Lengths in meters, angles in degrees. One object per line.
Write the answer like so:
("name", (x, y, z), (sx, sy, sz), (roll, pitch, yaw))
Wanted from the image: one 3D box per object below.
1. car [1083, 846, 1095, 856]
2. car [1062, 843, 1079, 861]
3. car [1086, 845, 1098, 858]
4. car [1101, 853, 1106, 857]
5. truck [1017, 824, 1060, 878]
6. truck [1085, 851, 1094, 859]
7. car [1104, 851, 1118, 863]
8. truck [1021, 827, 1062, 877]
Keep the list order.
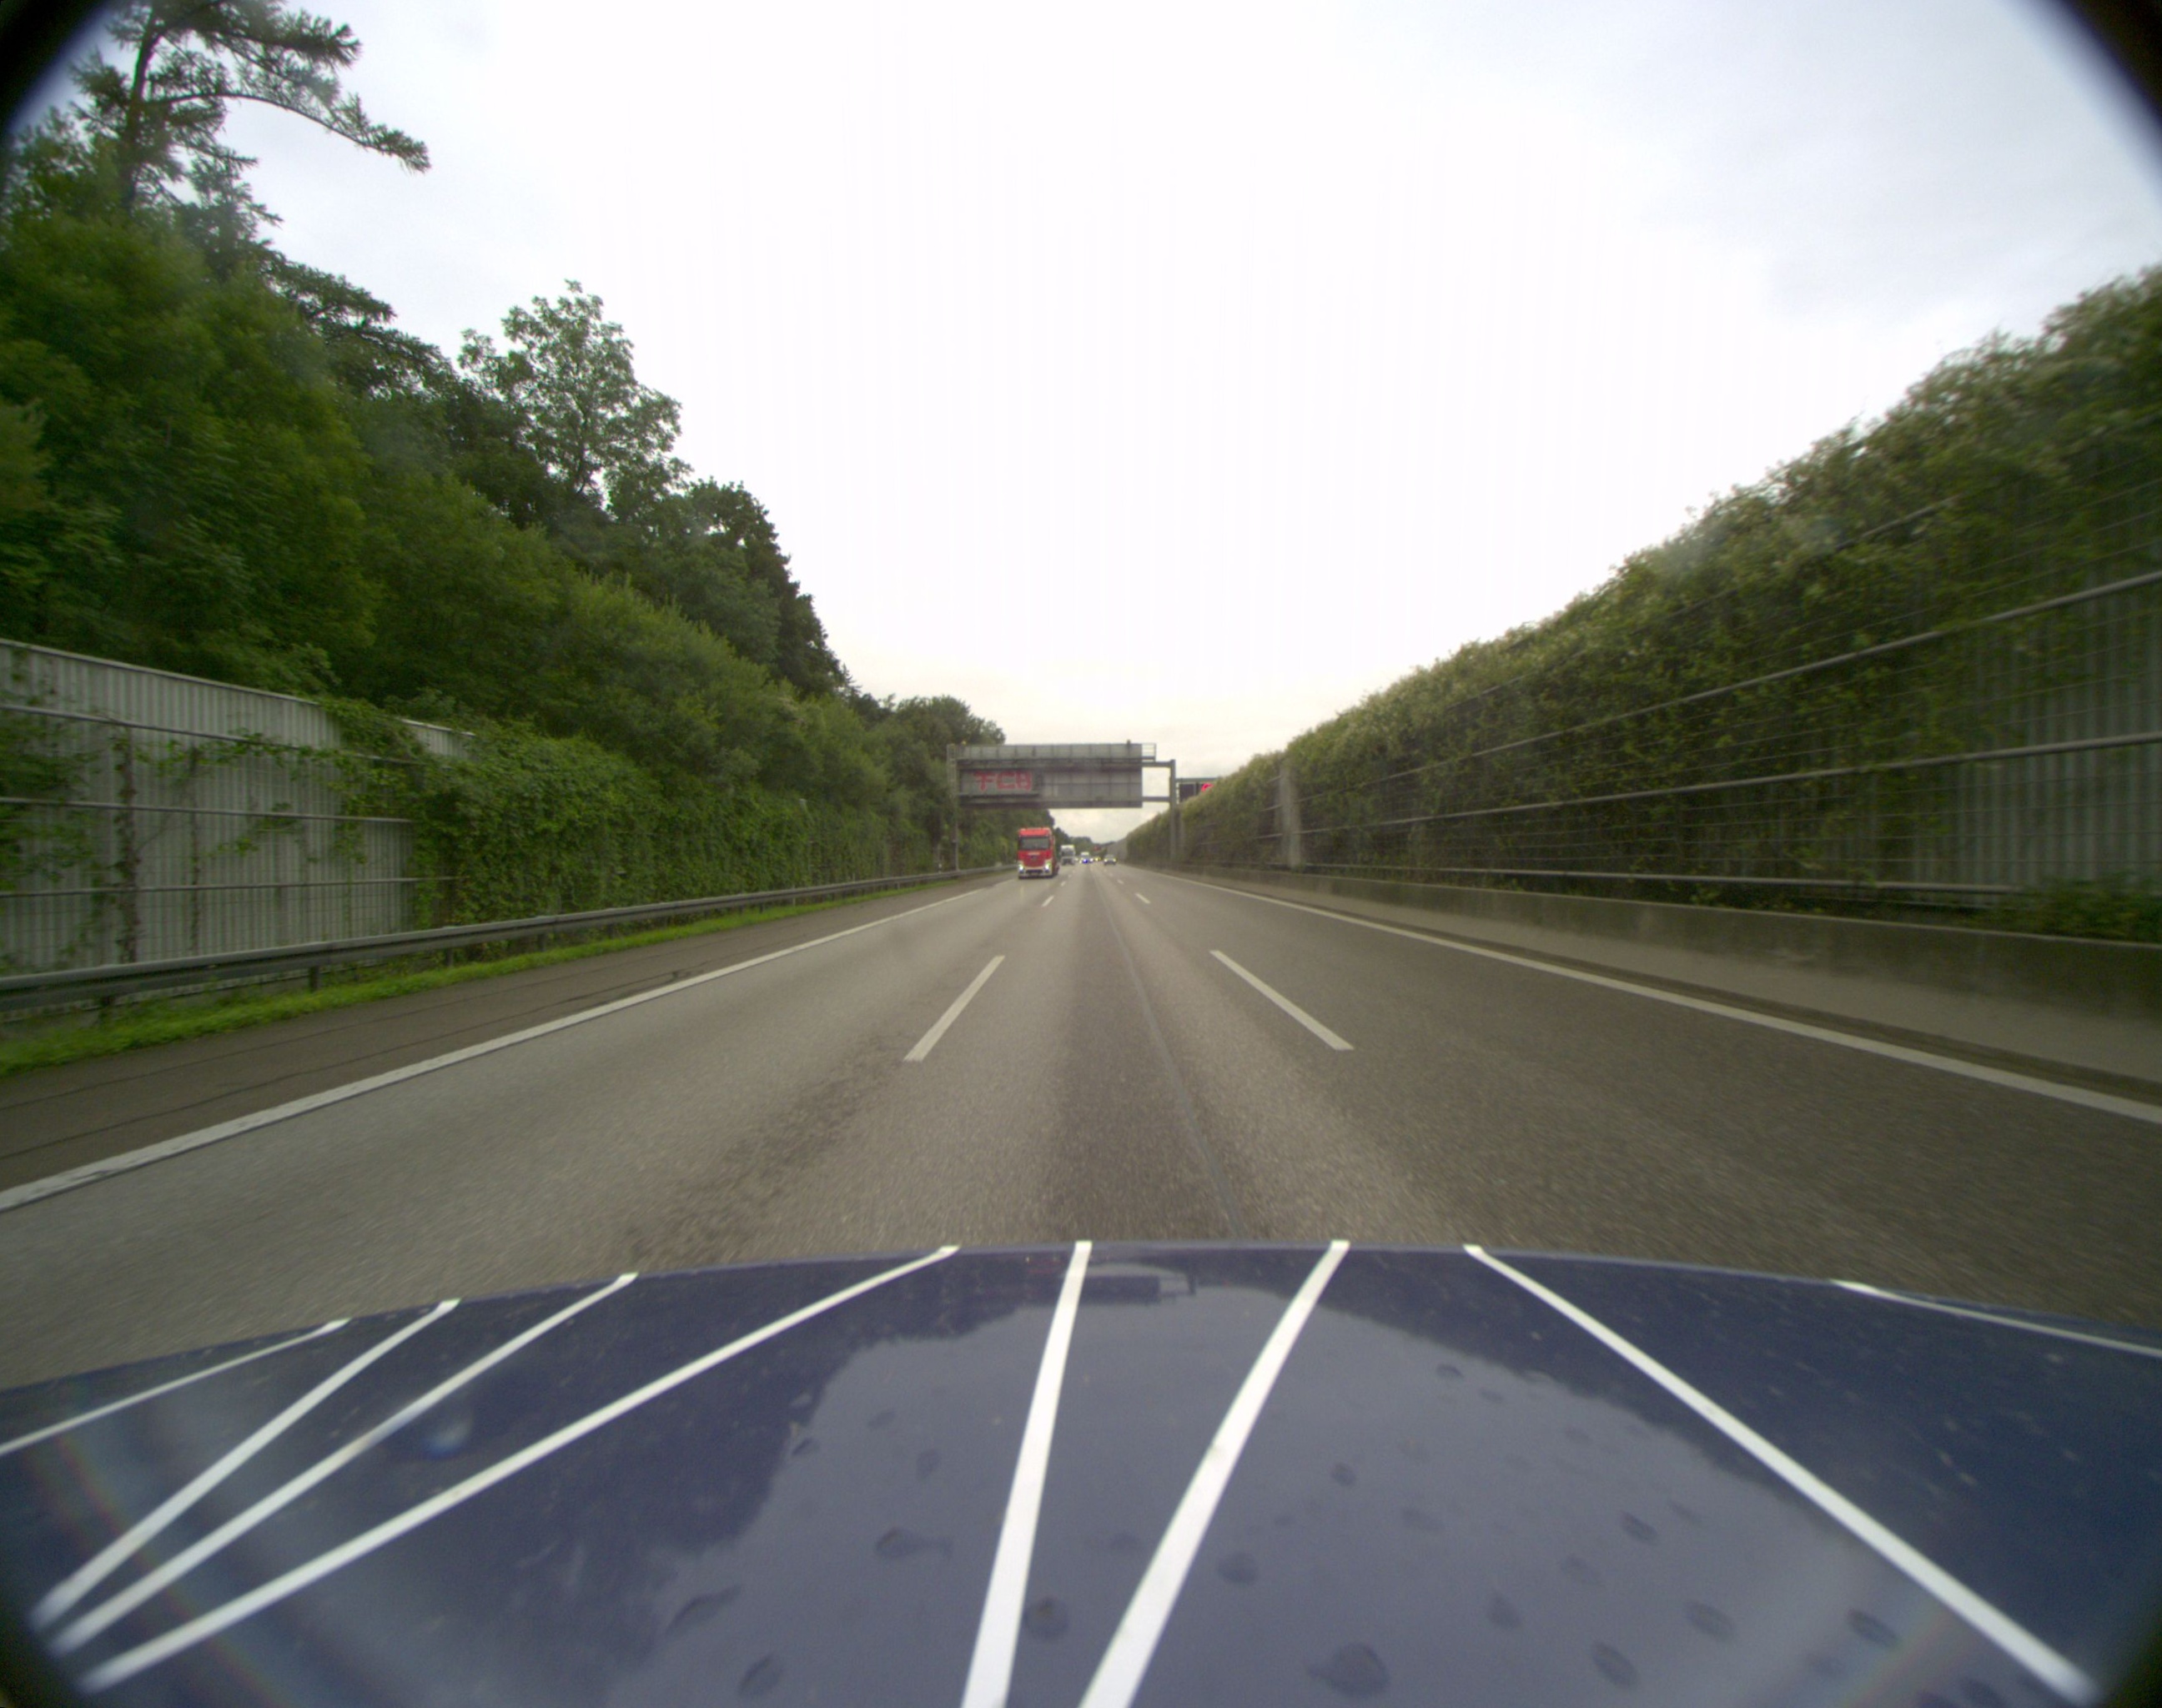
("car", (1.943, -0.721, 180.934), (2.769, 2.227, 6.546), (-2, 1, 1))
("car", (-1.995, -0.475, 146.906), (3.039, 3.278, 6.733), (-2, 1, 1))
("car", (3.135, -0.748, 212.070), (3.039, 3.571, 6.733), (-2, 1, 1))
("car", (7.527, 0.351, 255.183), (1.751, 1.368, 4.000), (-1, 0, 1))
("truck", (-3.102, -0.307, 56.749), (2.708, 3.809, 4.198), (-2, 2, 1))
("truck", (1.828, 0.272, 166.156), (1.825, 1.535, 3.998), (-3, 2, 0))
("car", (4.851, 0.446, 123.168), (2.023, 1.595, 5.438), (-4, 1, 0))
("truck", (-3.069, -0.299, 61.929), (2.709, 3.691, 9.838), (-2, 2, 0))
